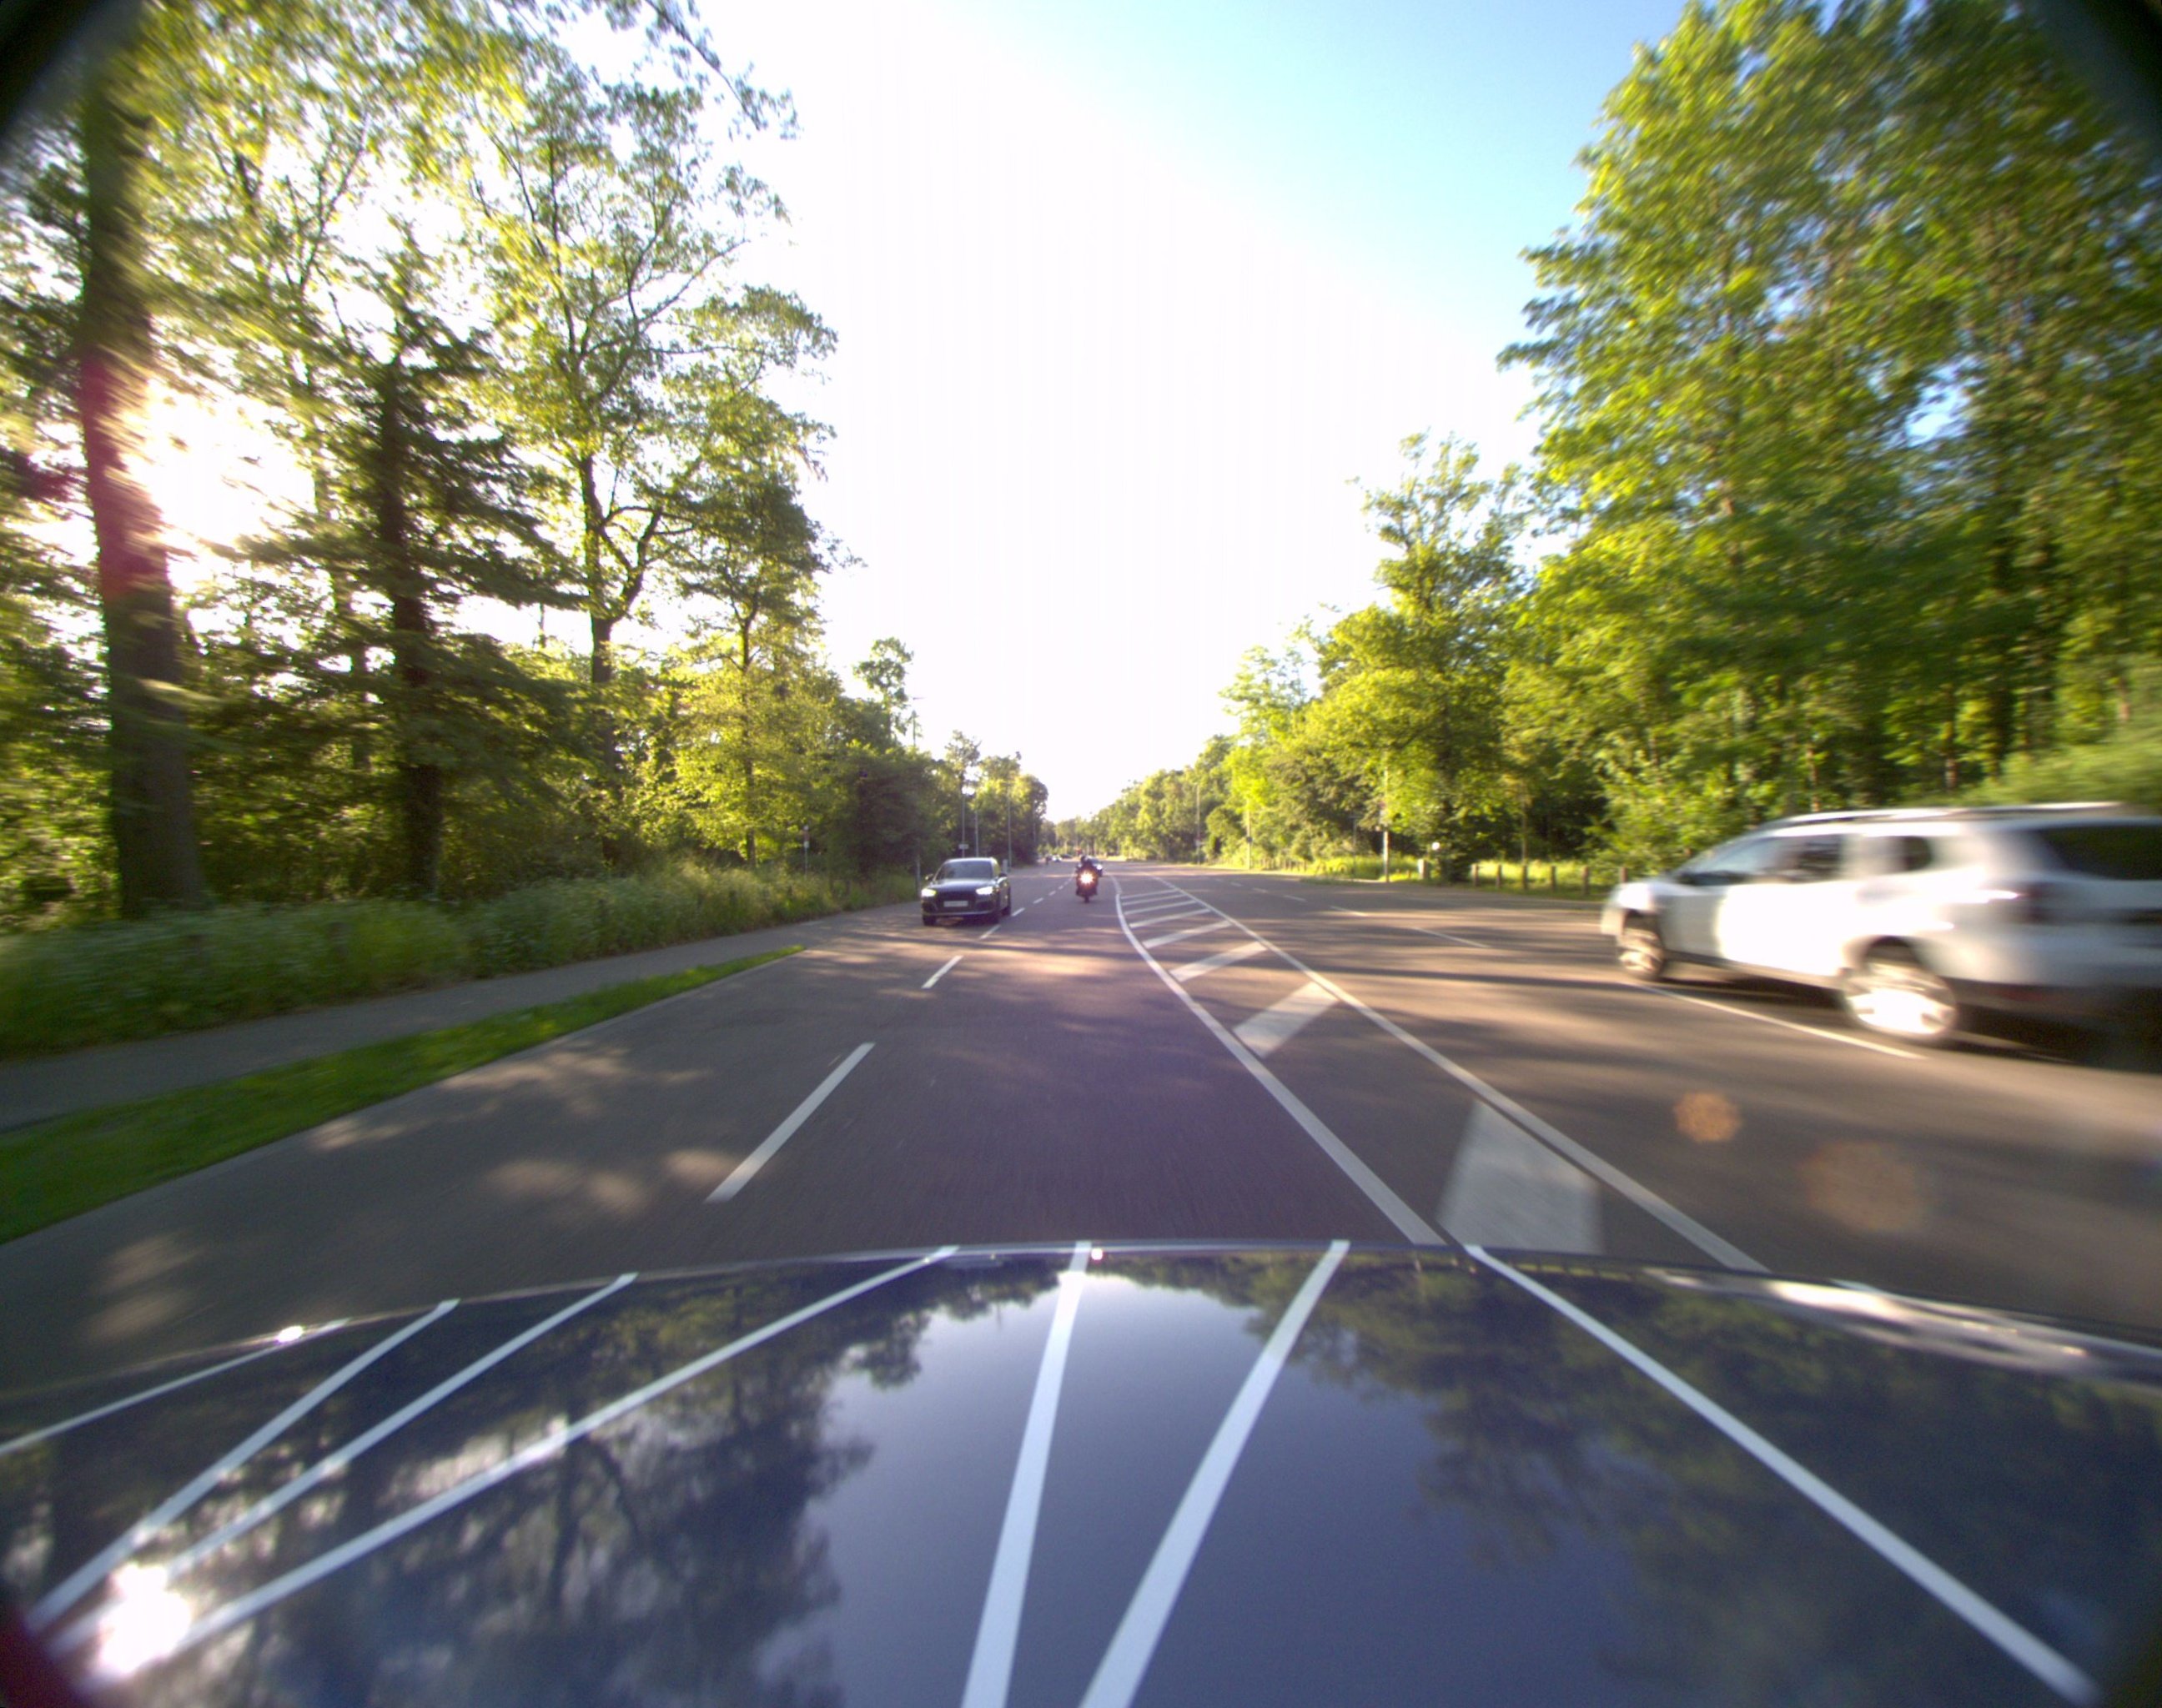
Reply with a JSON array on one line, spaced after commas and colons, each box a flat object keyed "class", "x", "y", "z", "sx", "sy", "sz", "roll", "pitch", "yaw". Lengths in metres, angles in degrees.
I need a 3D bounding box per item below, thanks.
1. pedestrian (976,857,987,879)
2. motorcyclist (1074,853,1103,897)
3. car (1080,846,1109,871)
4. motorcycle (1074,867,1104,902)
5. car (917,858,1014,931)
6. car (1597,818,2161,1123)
[{"class": "pedestrian", "x": -7.281, "y": 1.006, "z": 55.618, "sx": 0.642, "sy": 1.510, "sz": 0.760, "roll": -4, "pitch": 1, "yaw": 0}, {"class": "motorcyclist", "x": 0.291, "y": 0.764, "z": 27.614, "sx": 0.953, "sy": 1.523, "sz": 1.074, "roll": -3, "pitch": 0, "yaw": 2}, {"class": "car", "x": 0.978, "y": 0.325, "z": 55.984, "sx": 1.998, "sy": 1.761, "sz": 4.232, "roll": -2, "pitch": 0, "yaw": 1}, {"class": "motorcycle", "x": 0.326, "y": 1.070, "z": 27.783, "sx": 0.956, "sy": 1.098, "sz": 3.340, "roll": -4, "pitch": 0, "yaw": 2}, {"class": "car", "x": -2.927, "y": 0.980, "z": 20.127, "sx": 1.861, "sy": 1.608, "sz": 4.000, "roll": -2, "pitch": 1, "yaw": 1}, {"class": "car", "x": 6.688, "y": 0.598, "z": 6.292, "sx": 1.998, "sy": 1.649, "sz": 4.449, "roll": -2, "pitch": 0, "yaw": 4}]
